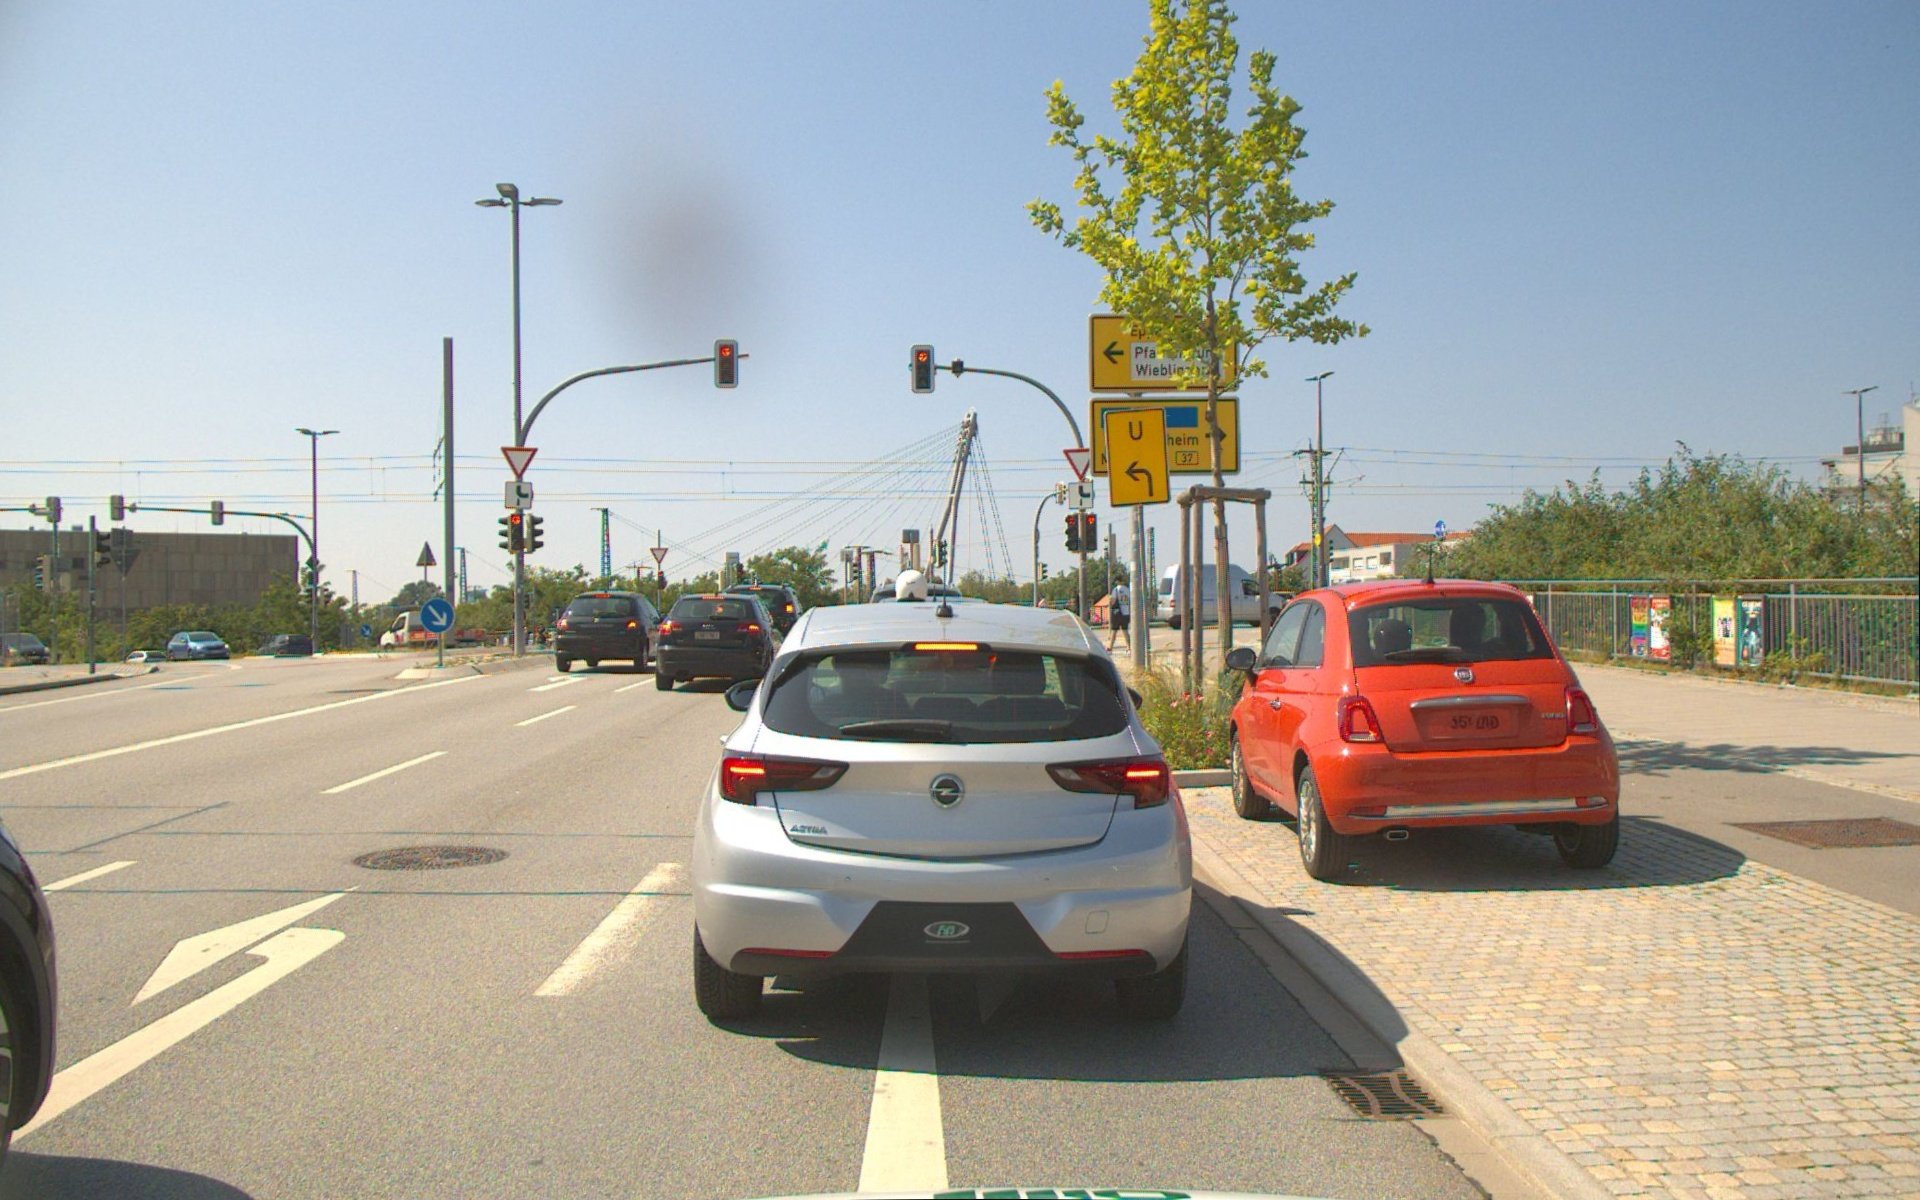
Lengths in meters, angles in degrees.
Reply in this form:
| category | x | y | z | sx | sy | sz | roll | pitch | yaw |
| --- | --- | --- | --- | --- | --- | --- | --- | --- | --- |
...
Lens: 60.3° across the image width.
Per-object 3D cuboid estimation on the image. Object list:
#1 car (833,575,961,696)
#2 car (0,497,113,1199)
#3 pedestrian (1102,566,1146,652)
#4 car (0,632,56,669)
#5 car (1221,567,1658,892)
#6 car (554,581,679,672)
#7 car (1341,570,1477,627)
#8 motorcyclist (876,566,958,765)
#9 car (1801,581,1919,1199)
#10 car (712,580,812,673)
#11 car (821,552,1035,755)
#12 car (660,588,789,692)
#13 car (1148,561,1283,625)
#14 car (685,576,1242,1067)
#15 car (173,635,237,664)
| category | x | y | z | sx | sy | sz | roll | pitch | yaw |
| --- | --- | --- | --- | --- | --- | --- | --- | --- | --- |
| car | -0.858 | 0.439 | 24.129 | 1.689 | 1.591 | 4.000 | 1 | 1 | -1 |
| car | -2.964 | 0.596 | 1.910 | 1.765 | 1.670 | 4.365 | 0 | 0 | -1 |
| pedestrian | 3.639 | 0.204 | 36.608 | 0.637 | 1.868 | 0.794 | -1 | -1 | 38 |
| car | -41.208 | 2.218 | 73.110 | 1.662 | 1.502 | 3.358 | -1 | 1 | -39 |
| car | 2.609 | 0.620 | 9.760 | 1.577 | 1.522 | 3.352 | -2 | 0 | 0 |
| car | -6.365 | 0.479 | 30.989 | 1.565 | 1.574 | 3.761 | 1 | 0 | -1 |
| car | 17.061 | -0.030 | 62.863 | 4.624 | 2.049 | 1.992 | 1 | 0 | -15 |
| motorcyclist | -0.314 | 0.470 | 12.213 | 0.570 | 1.413 | 0.706 | 1 | -1 | -1 |
| car | 2.913 | 0.649 | 1.909 | 1.627 | 1.451 | 3.997 | -3 | 0 | -3 |
| car | -3.711 | 0.480 | 31.545 | 1.616 | 1.643 | 3.818 | 1 | 0 | -3 |
| car | -0.328 | 0.471 | 17.544 | 1.953 | 1.852 | 4.401 | 1 | 1 | -1 |
| car | -3.576 | 0.584 | 25.643 | 1.543 | 1.459 | 3.785 | 1 | 0 | -2 |
| car | 9.917 | -0.247 | 64.318 | 4.910 | 2.418 | 1.779 | 0 | -1 | -11 |
| car | -0.092 | 0.699 | 7.122 | 1.708 | 1.503 | 3.997 | 1 | 0 | -3 |
| car | -36.390 | 2.365 | 79.700 | 1.806 | 1.354 | 3.941 | 1 | -2 | -40 |
